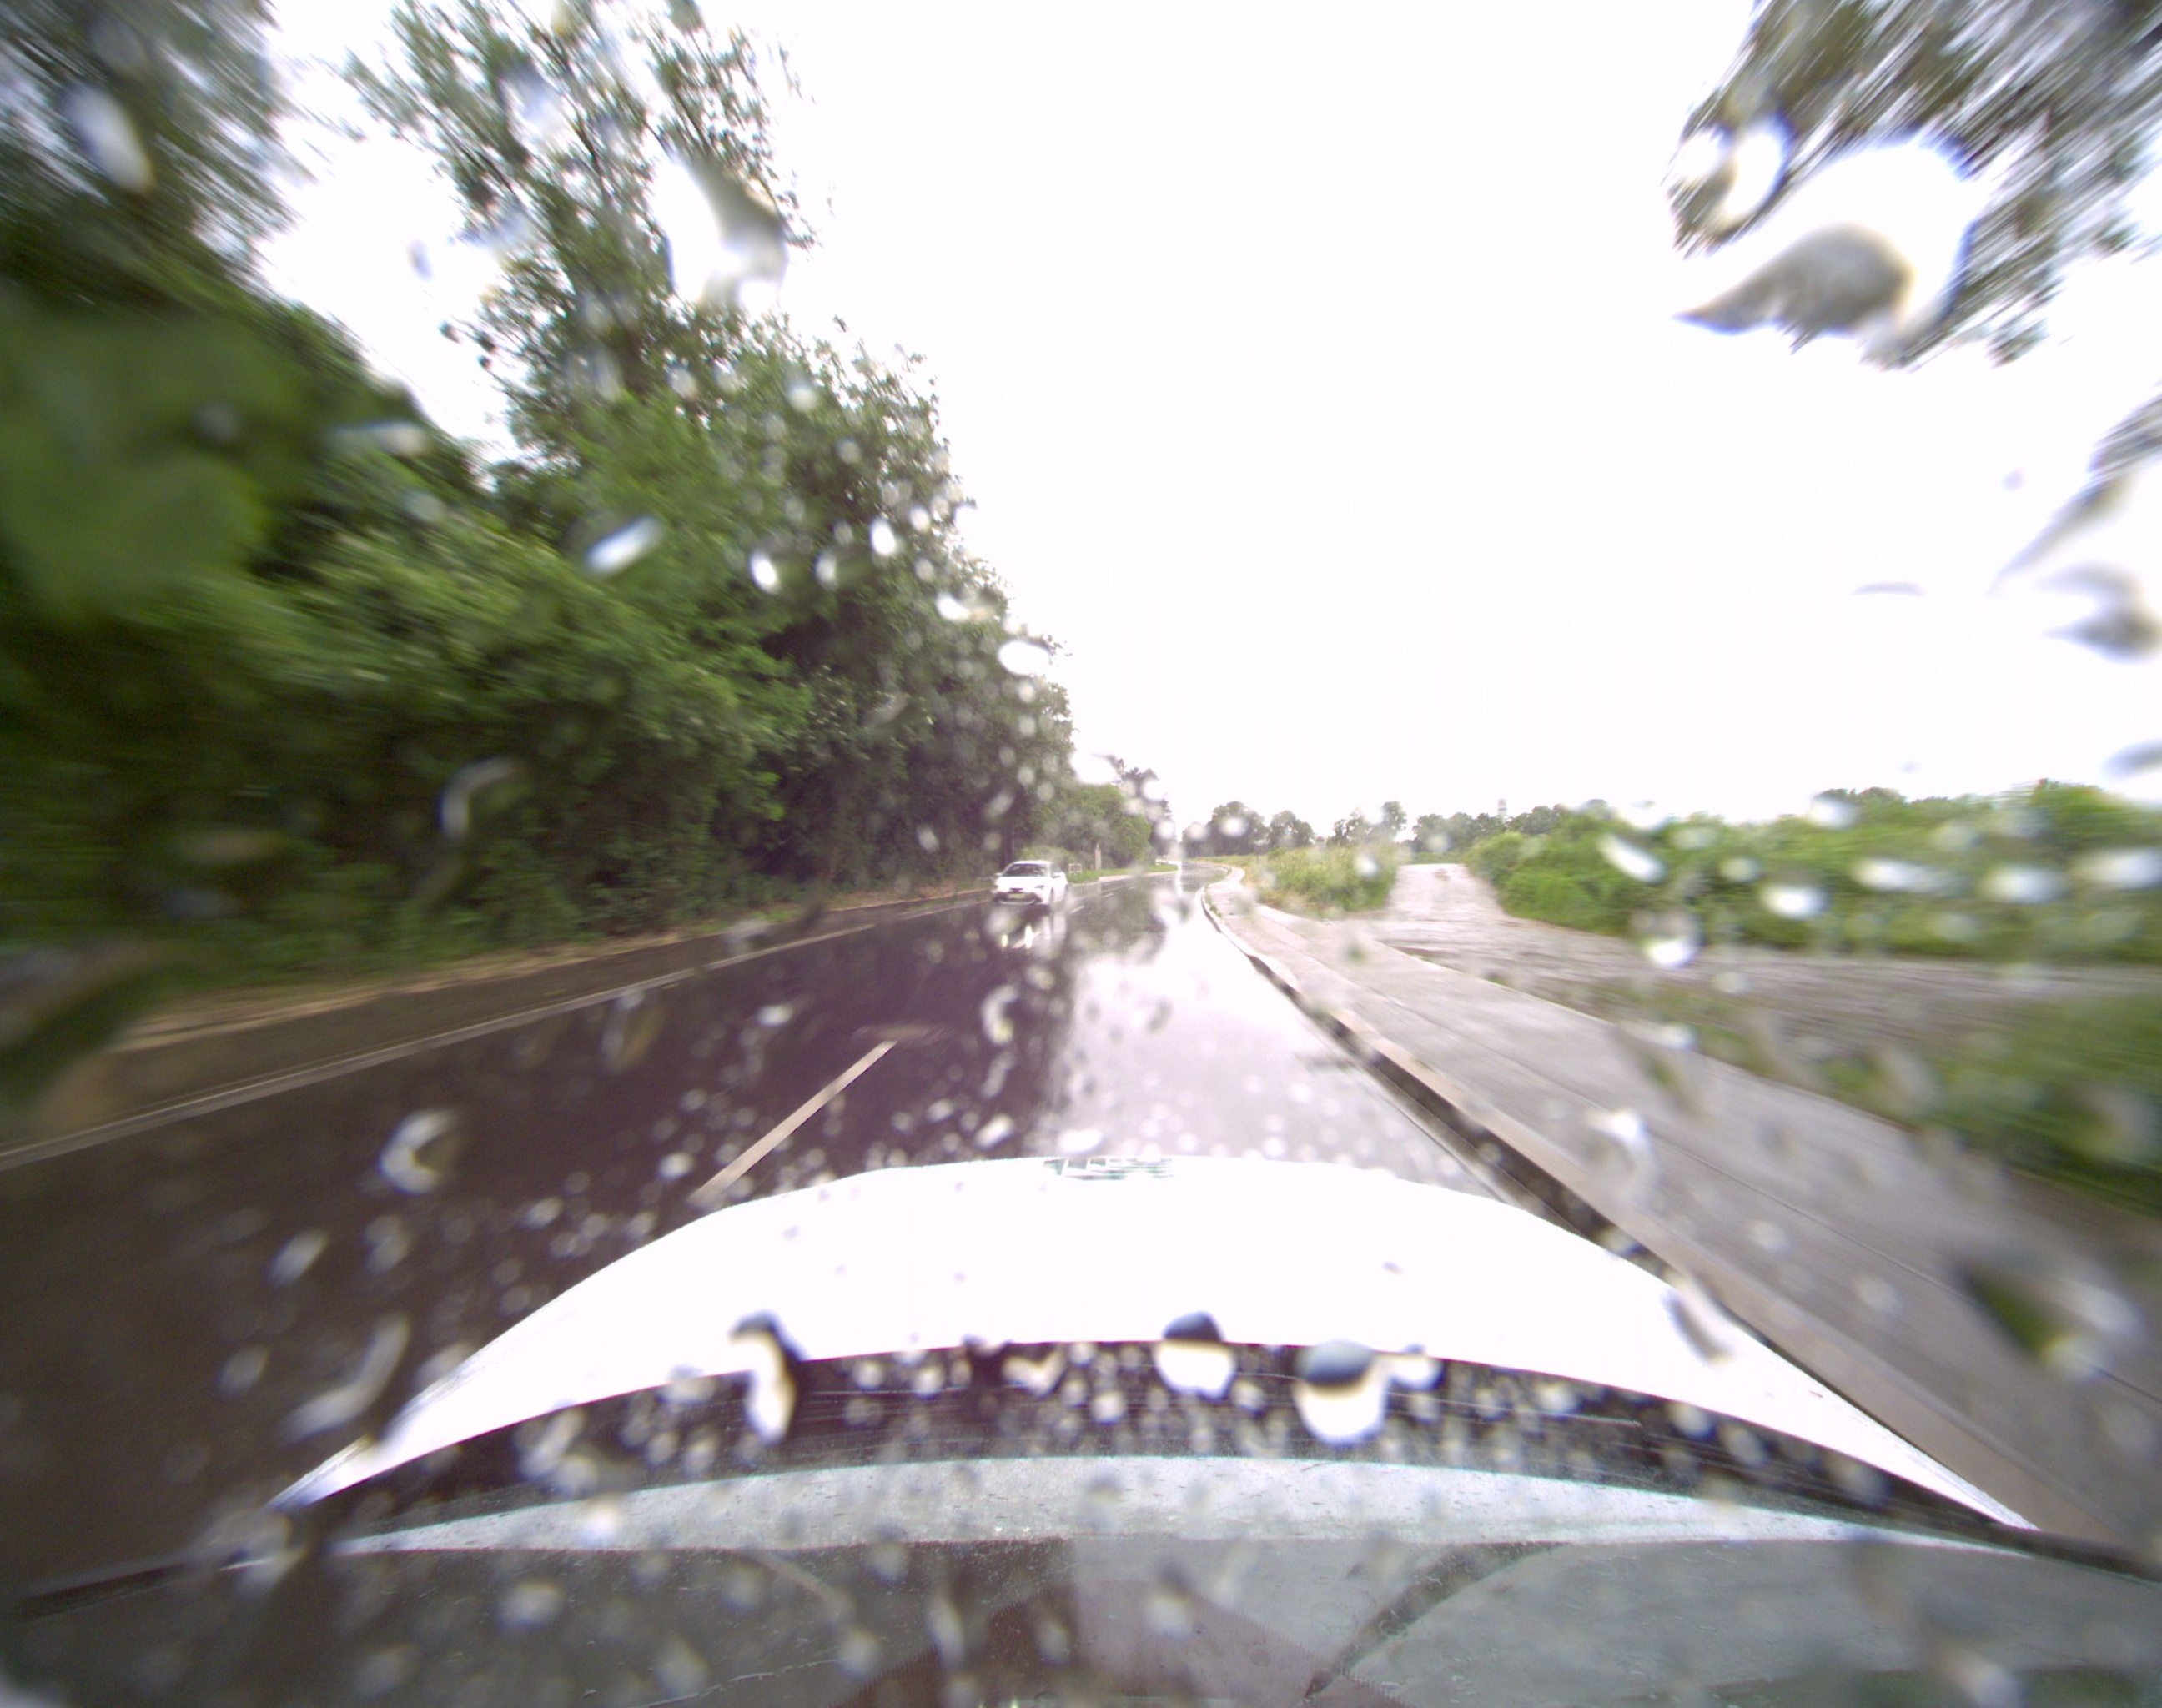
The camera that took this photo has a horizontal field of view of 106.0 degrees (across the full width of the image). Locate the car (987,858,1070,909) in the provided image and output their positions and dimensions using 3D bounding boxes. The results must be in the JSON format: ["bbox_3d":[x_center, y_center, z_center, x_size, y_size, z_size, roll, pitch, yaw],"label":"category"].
[{"bbox_3d":[-1.534,0.845,25.422,1.777,1.419,4.642,0,0,6],"label":"car"}]
